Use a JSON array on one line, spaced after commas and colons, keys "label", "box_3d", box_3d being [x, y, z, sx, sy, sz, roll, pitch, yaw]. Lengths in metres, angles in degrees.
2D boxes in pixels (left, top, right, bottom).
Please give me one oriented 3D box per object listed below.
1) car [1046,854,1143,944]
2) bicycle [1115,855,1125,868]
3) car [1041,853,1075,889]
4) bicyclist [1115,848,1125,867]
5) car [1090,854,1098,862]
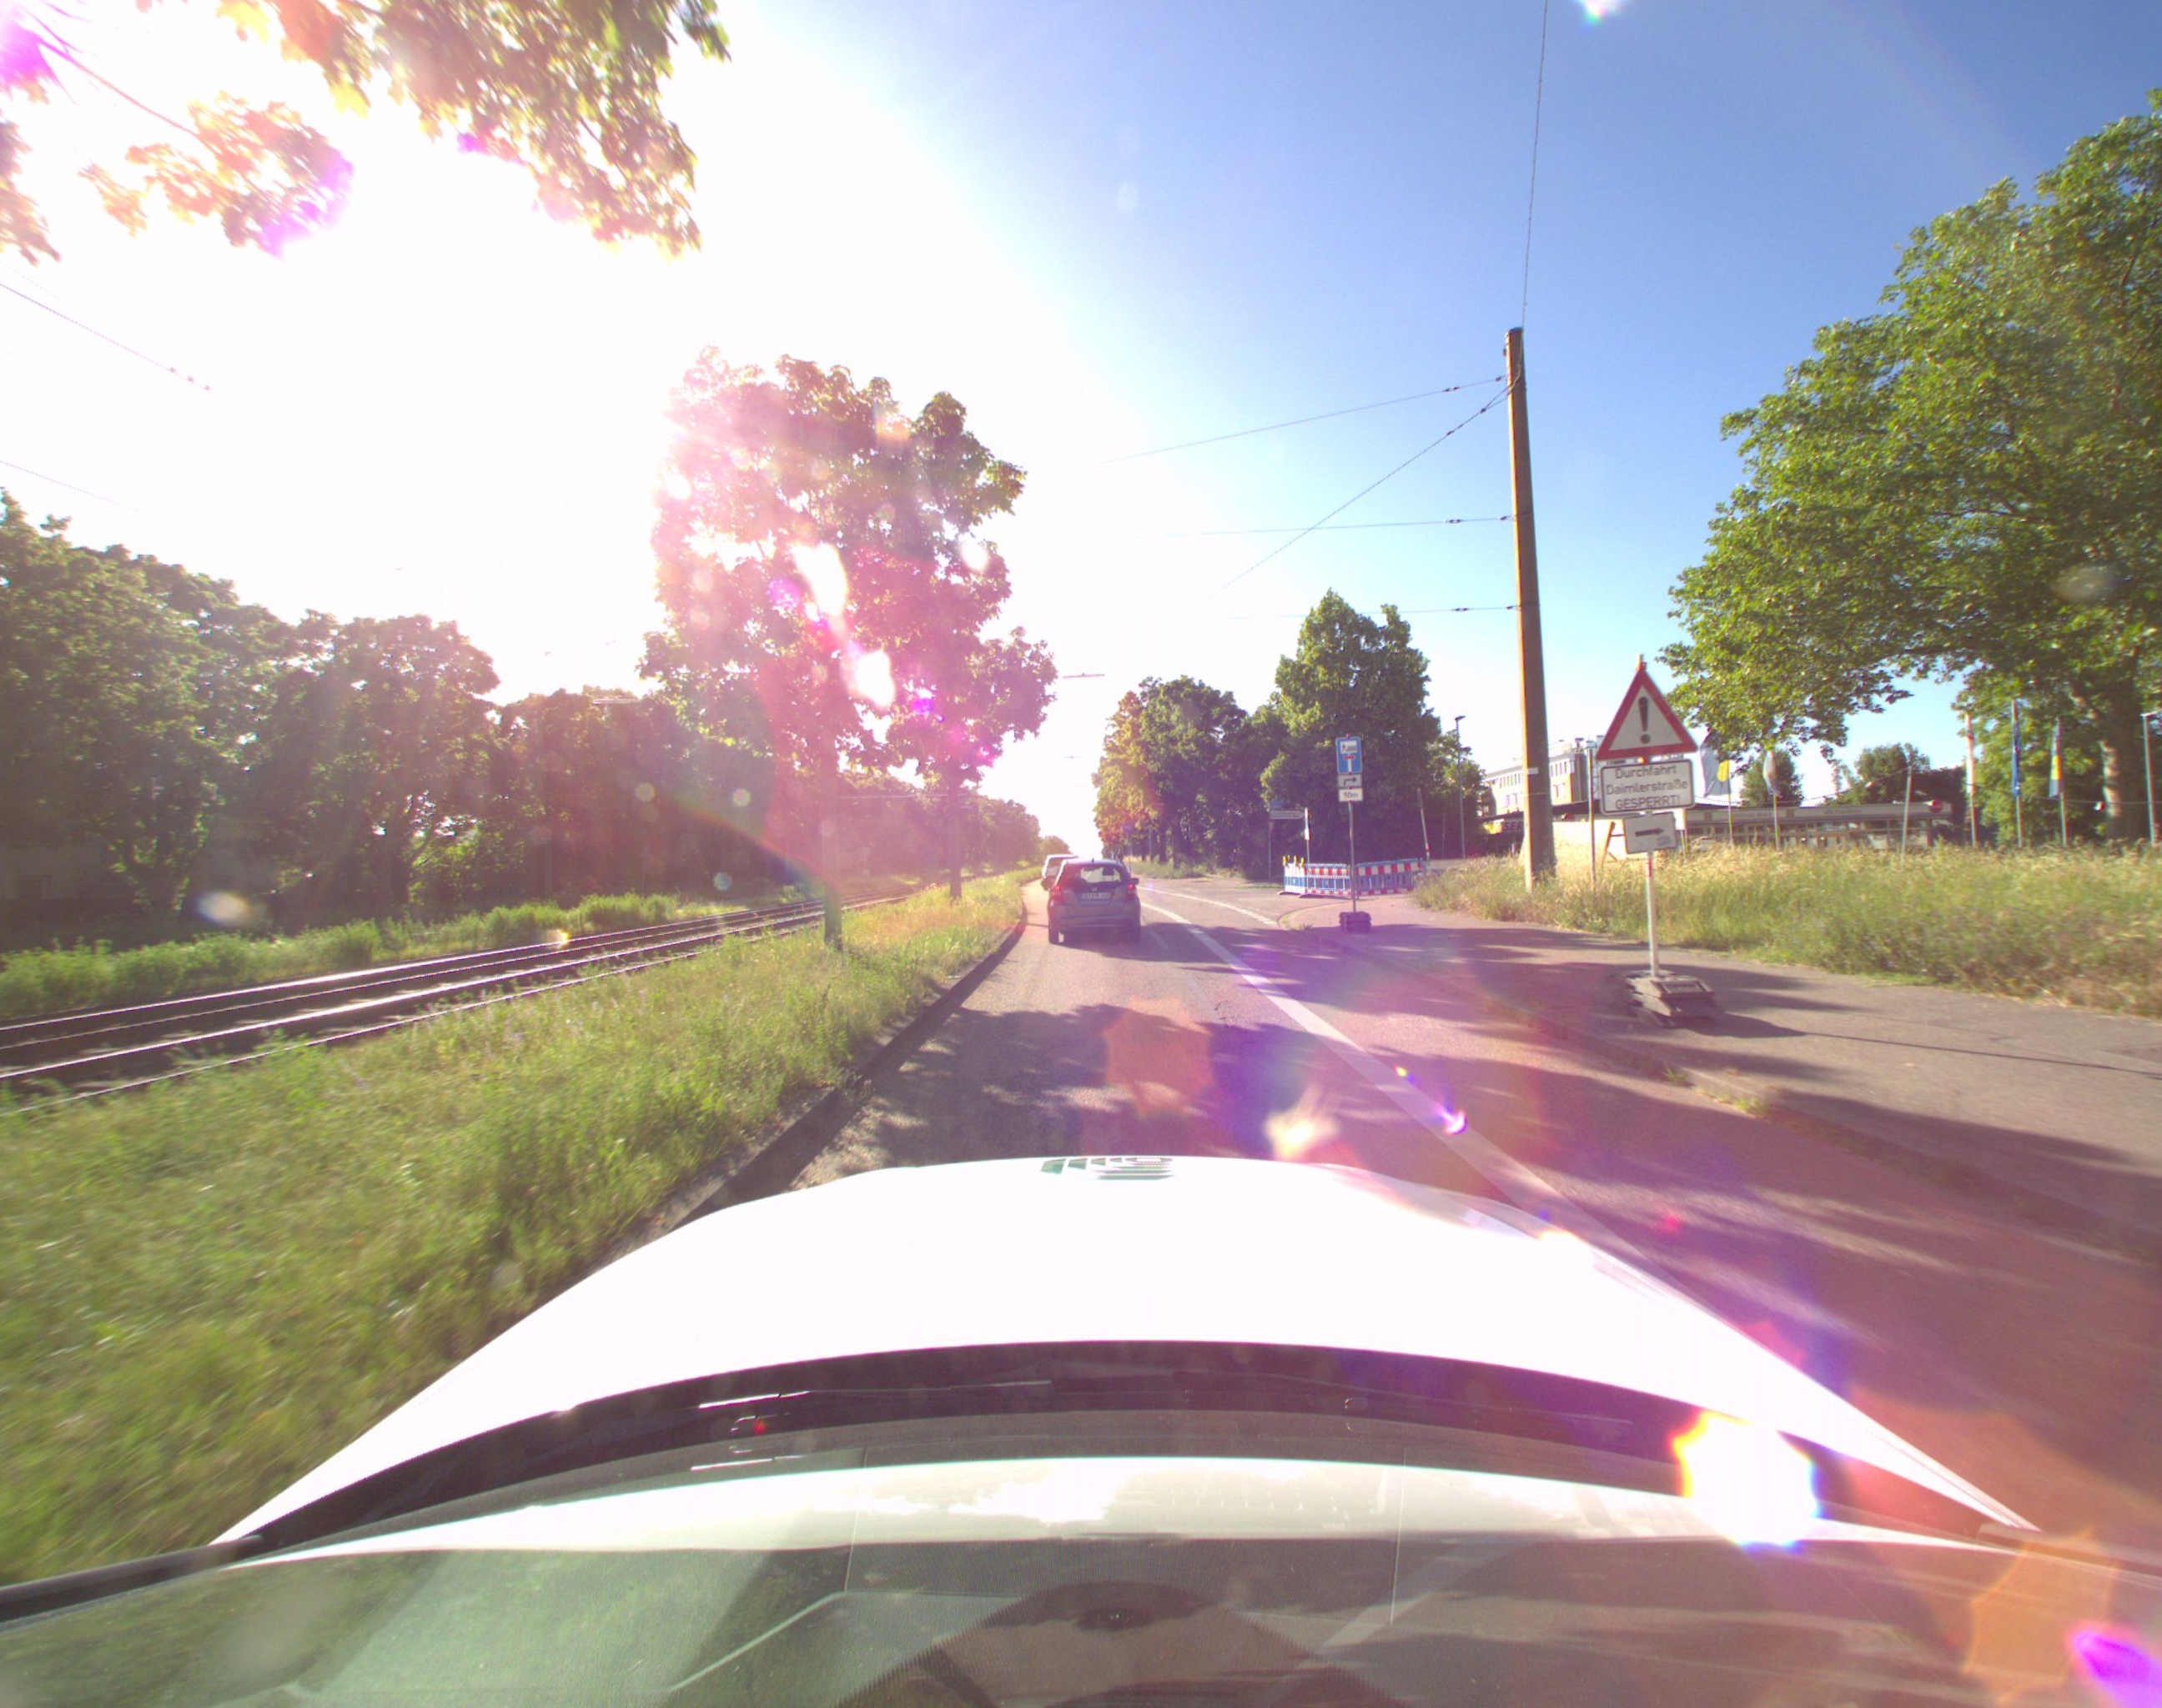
[{"label": "car", "box_3d": [0.190, 0.783, 15.870, 1.666, 1.515, 3.671, 0, 0, -2]}, {"label": "bicycle", "box_3d": [3.289, 0.644, 69.369, 0.814, 1.048, 2.507, -1, -2, 3]}, {"label": "car", "box_3d": [-1.083, 0.794, 37.420, 1.349, 1.528, 3.117, -2, -1, -5]}, {"label": "bicyclist", "box_3d": [3.293, 0.306, 69.399, 0.814, 1.524, 0.966, -1, -2, 2]}, {"label": "car", "box_3d": [4.038, 1.229, 251.890, 1.986, 2.013, 4.002, -6, -1, 2]}]
